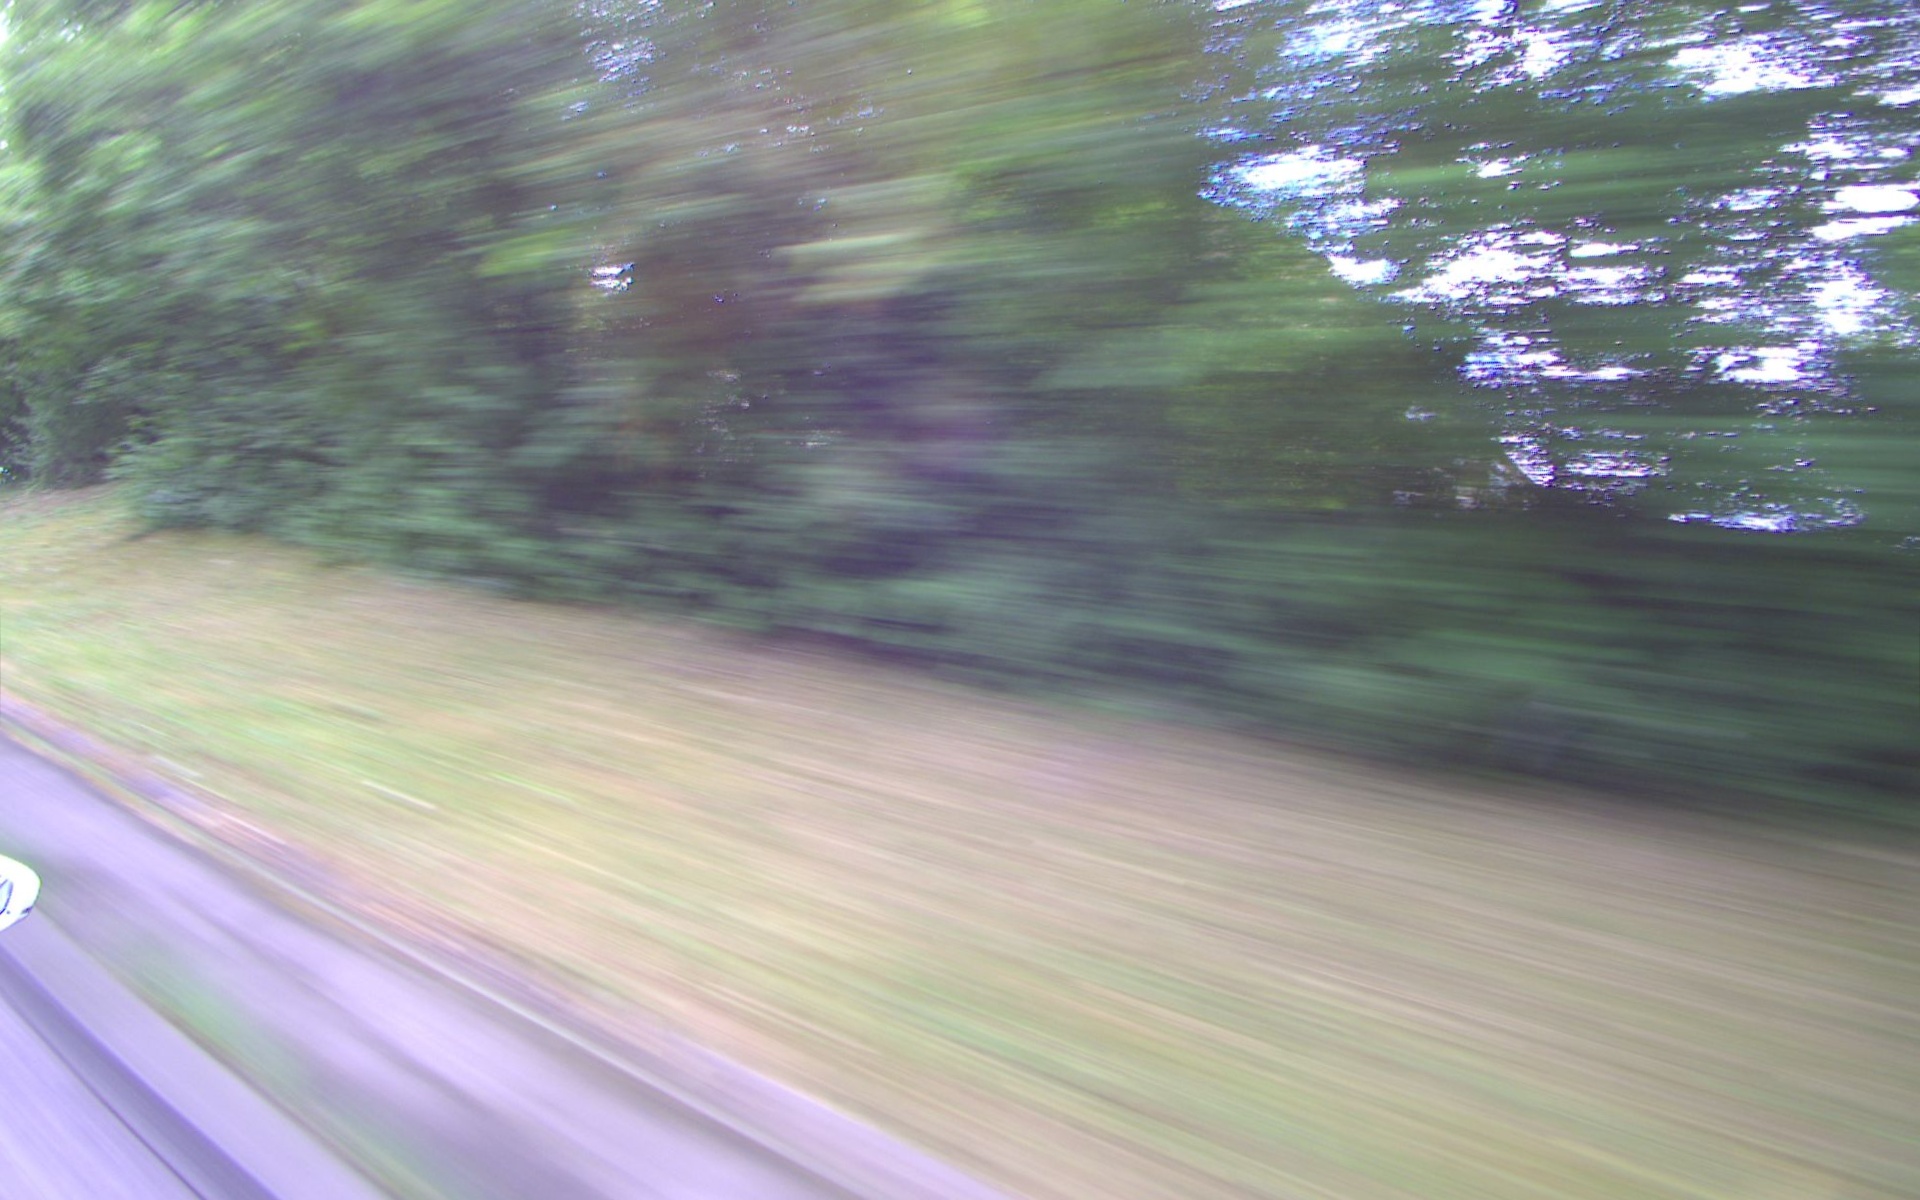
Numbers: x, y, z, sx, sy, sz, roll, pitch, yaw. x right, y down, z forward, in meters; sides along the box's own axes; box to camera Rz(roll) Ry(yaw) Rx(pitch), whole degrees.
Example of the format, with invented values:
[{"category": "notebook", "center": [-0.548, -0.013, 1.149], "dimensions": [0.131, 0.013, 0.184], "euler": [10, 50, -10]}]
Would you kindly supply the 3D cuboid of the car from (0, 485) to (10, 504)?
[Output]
[{"category": "car", "center": [-72.066, -8.018, 74.144], "dimensions": [1.889, 1.368, 4.800], "euler": [12, -3, -32]}]
